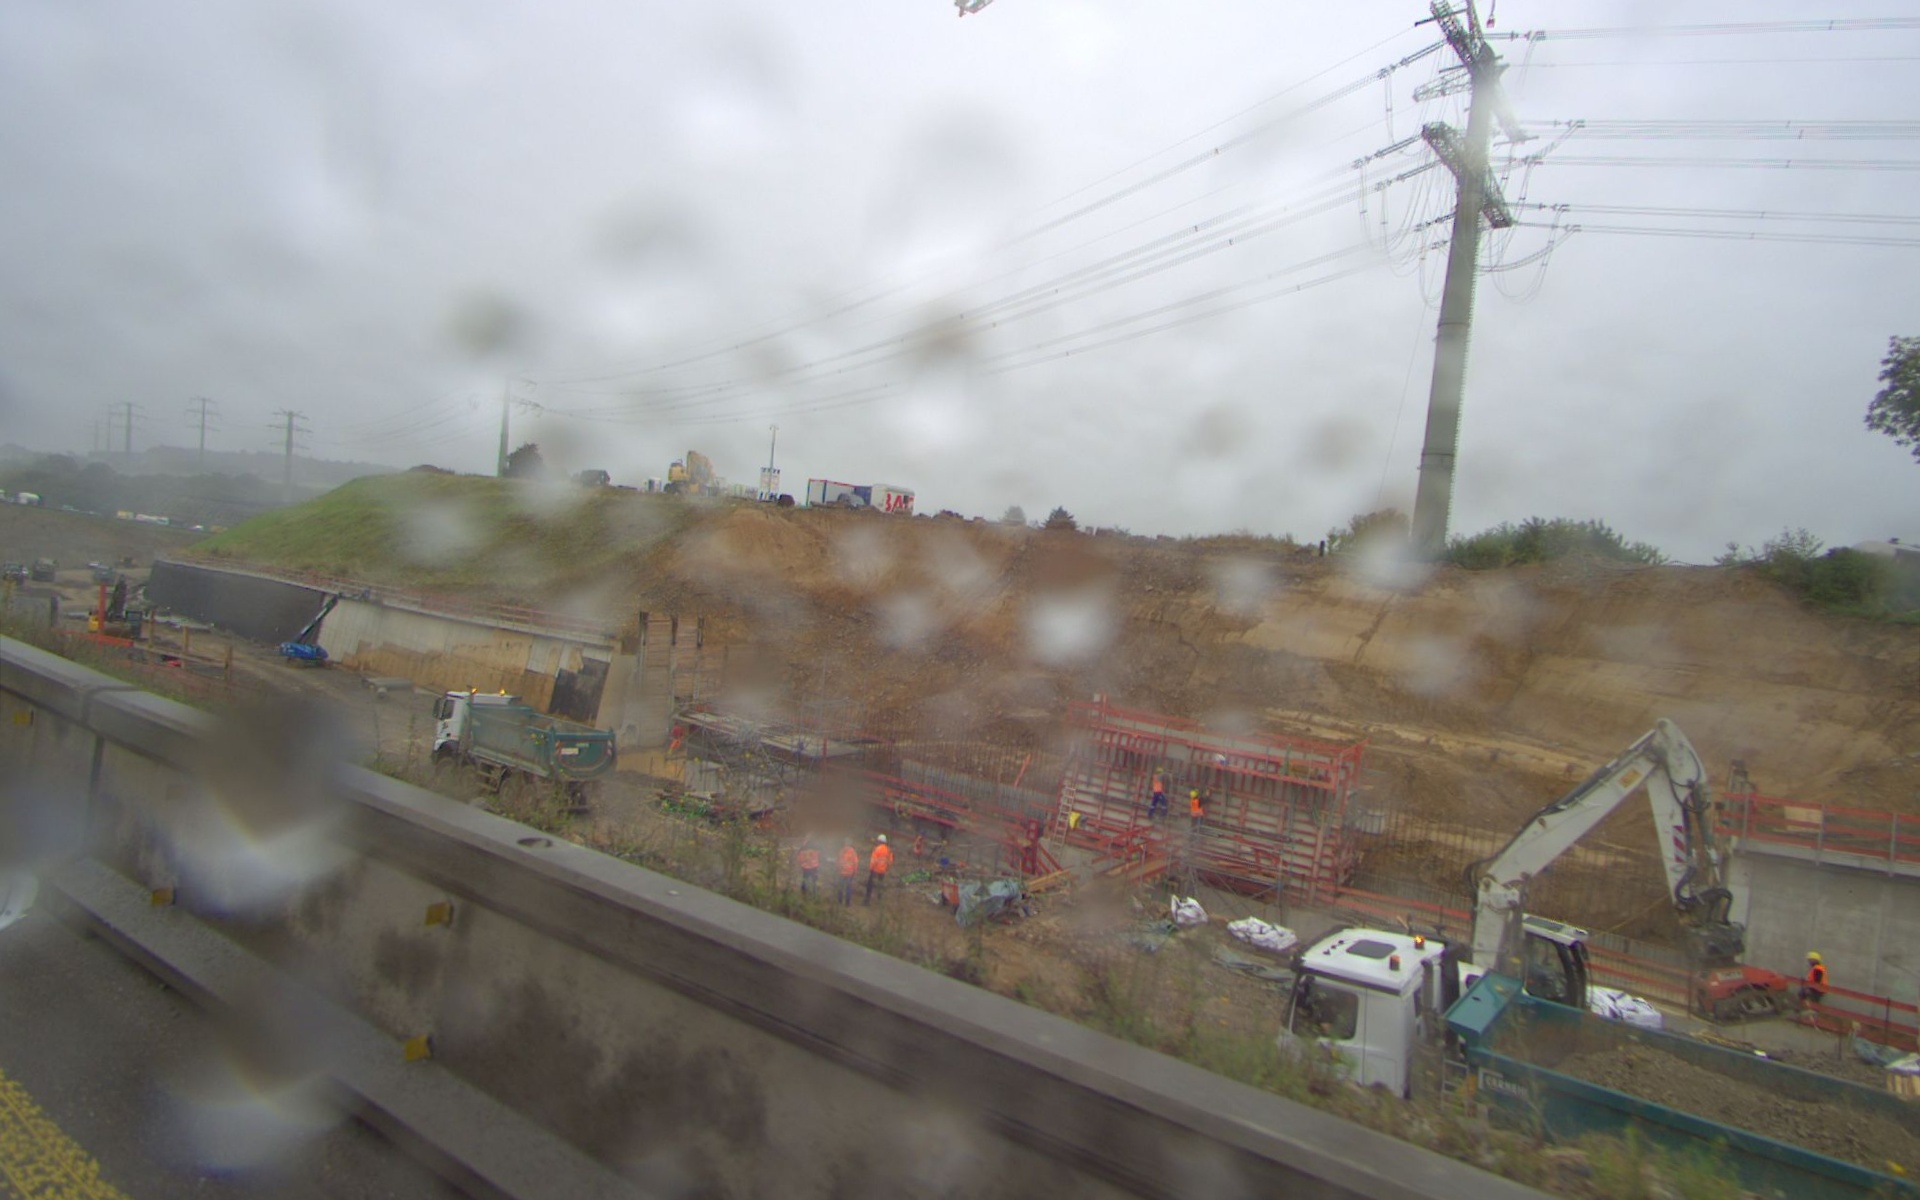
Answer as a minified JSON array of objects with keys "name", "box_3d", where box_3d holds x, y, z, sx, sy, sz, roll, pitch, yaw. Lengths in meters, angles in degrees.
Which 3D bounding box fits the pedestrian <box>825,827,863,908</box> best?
[{"name":"pedestrian","box_3d":[-3.169,7.288,27.452,0.721,1.968,0.575,6,0,4]}]

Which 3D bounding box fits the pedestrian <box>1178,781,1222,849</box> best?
[{"name":"pedestrian","box_3d":[8.081,7.227,33.828,0.885,2.014,0.907,5,-10,37]}]

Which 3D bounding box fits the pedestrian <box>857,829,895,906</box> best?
[{"name":"pedestrian","box_3d":[-2.317,7.396,27.791,0.725,1.968,0.573,6,0,-20]}]

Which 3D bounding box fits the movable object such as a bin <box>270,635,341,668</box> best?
[{"name":"movable object such as a bin","box_3d":[-48.676,3.835,74.851,3.772,2.036,2.001,5,-3,-4]}]

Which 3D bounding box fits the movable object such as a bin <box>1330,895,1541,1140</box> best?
[{"name":"movable object such as a bin","box_3d":[8.799,7.418,18.504,2.920,2.771,3.154,6,-1,32]}]

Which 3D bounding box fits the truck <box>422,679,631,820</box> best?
[{"name":"truck","box_3d":[-16.100,5.274,36.955,8.927,3.533,2.730,6,-1,37]}]

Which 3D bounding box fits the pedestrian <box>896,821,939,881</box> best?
[{"name":"pedestrian","box_3d":[-1.595,9.536,38.202,0.891,2.014,0.900,6,-10,36]}]

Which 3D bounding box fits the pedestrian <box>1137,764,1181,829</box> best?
[{"name":"pedestrian","box_3d":[6.883,6.789,34.770,0.885,2.014,0.907,5,-10,37]}]

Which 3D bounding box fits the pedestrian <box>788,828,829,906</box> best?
[{"name":"pedestrian","box_3d":[-4.122,7.273,27.430,0.724,1.892,0.573,6,0,39]}]

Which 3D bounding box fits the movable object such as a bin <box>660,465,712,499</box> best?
[{"name":"movable object such as a bin","box_3d":[-24.479,-10.567,89.857,3.910,2.474,2.427,9,1,40]}]

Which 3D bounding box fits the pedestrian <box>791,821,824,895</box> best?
[{"name":"pedestrian","box_3d":[-4.308,7.273,28.356,0.567,1.892,0.732,6,0,-21]}]

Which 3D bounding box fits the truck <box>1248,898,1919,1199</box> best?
[{"name":"truck","box_3d":[8.548,6.954,12.910,8.832,3.546,2.693,6,-1,44]}]
